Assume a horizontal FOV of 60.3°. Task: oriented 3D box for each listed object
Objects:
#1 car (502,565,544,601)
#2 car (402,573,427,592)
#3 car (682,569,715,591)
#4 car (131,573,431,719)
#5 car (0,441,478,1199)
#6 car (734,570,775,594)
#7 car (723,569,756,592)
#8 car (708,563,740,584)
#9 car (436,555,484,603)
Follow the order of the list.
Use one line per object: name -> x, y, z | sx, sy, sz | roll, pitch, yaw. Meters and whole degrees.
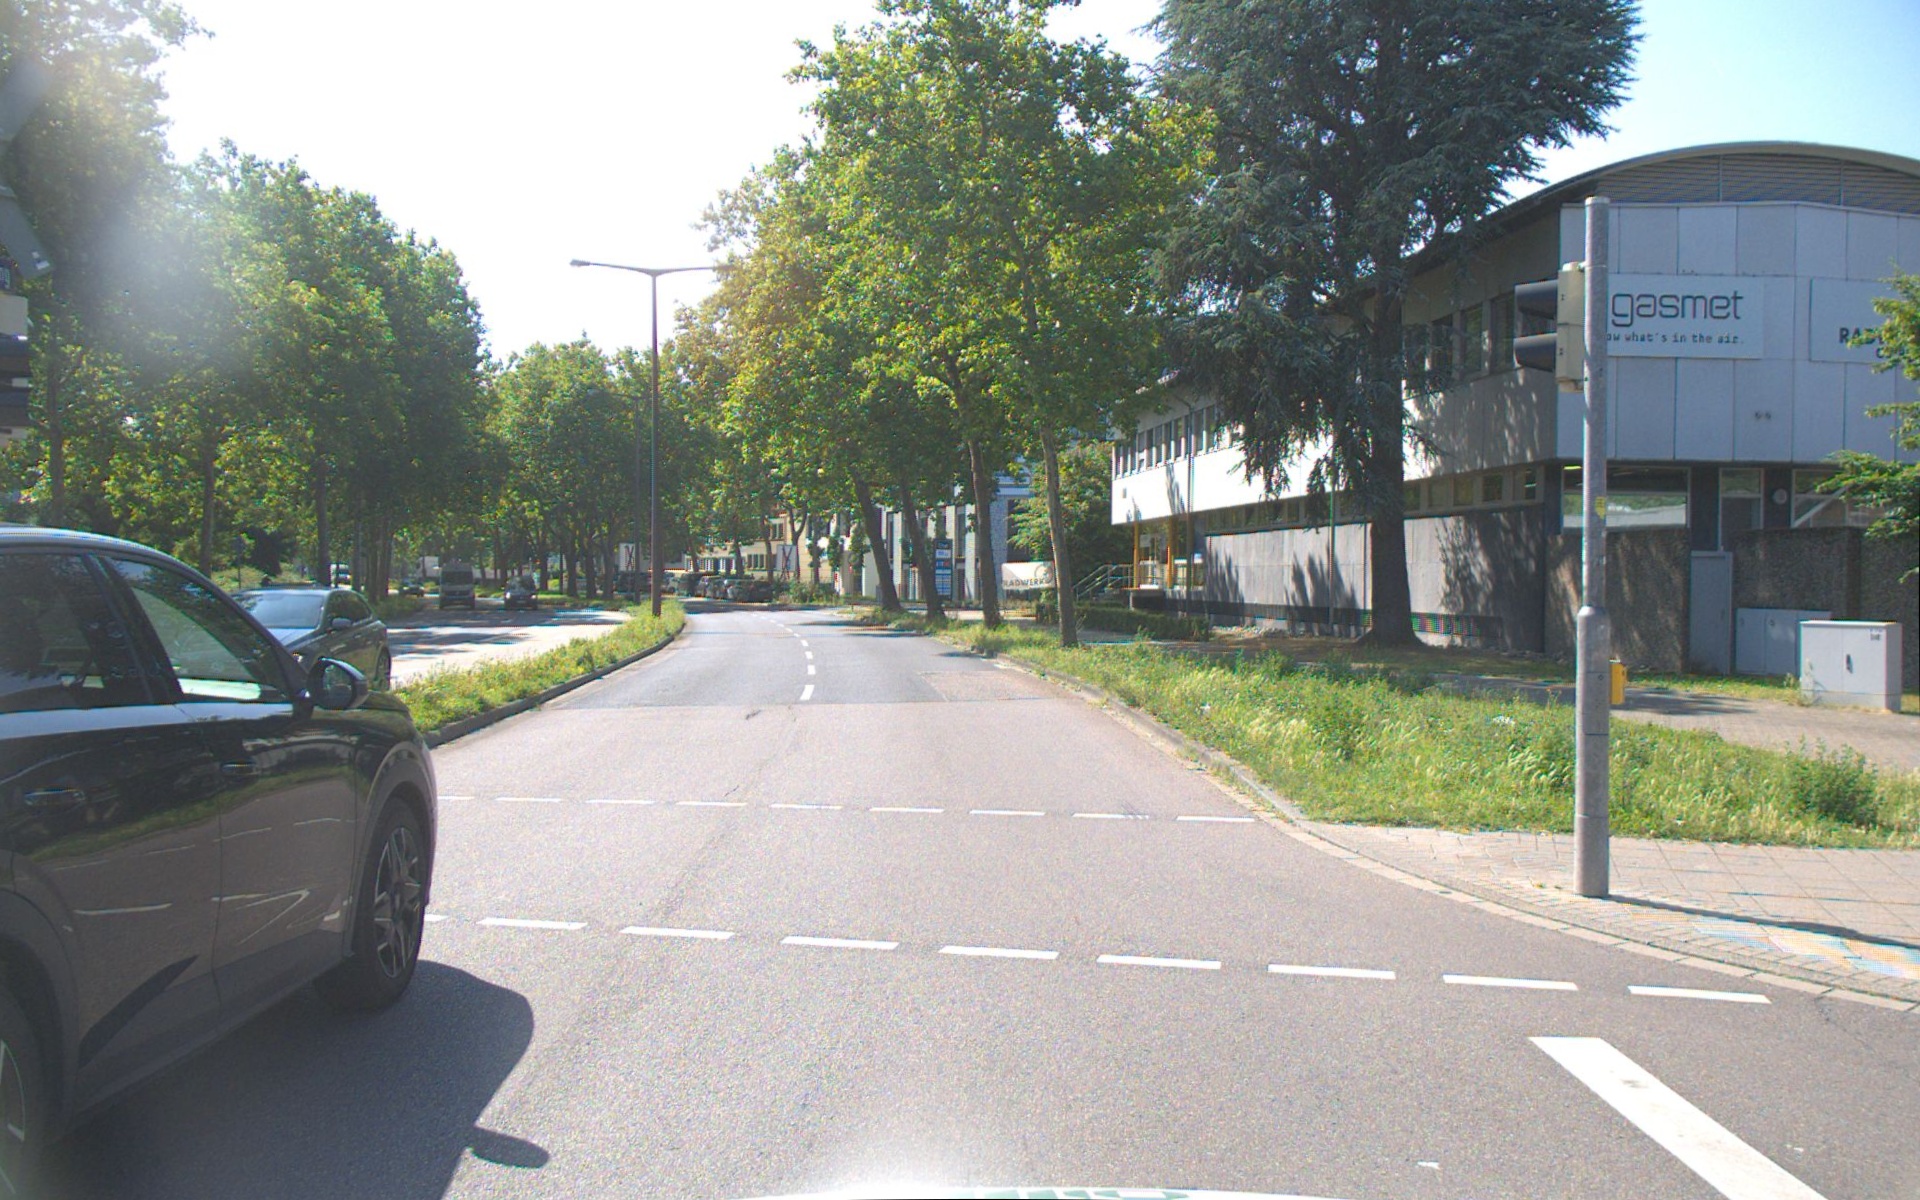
car -> -23.602, -0.943, 89.452 | 1.654, 1.871, 4.985 | -1, 2, -8
car -> -48.123, -1.542, 146.015 | 1.764, 1.583, 4.379 | -1, 1, -14
car -> -20.950, -1.625, 132.385 | 1.682, 1.698, 4.505 | -1, 2, -21
car -> -7.899, 0.454, 19.690 | 1.658, 1.534, 4.132 | 0, 1, 3
car -> -2.768, 0.555, 4.316 | 1.834, 1.726, 4.434 | 0, 0, -2
car -> -13.686, -1.232, 109.856 | 1.682, 1.513, 4.691 | -2, 2, -20
car -> -15.411, -1.378, 115.324 | 1.679, 1.513, 4.083 | -1, 1, -16
car -> -17.134, -1.958, 120.103 | 1.679, 1.480, 4.635 | -1, 1, -16
car -> -28.750, -1.217, 95.206 | 2.024, 2.659, 7.195 | -1, 1, -12
